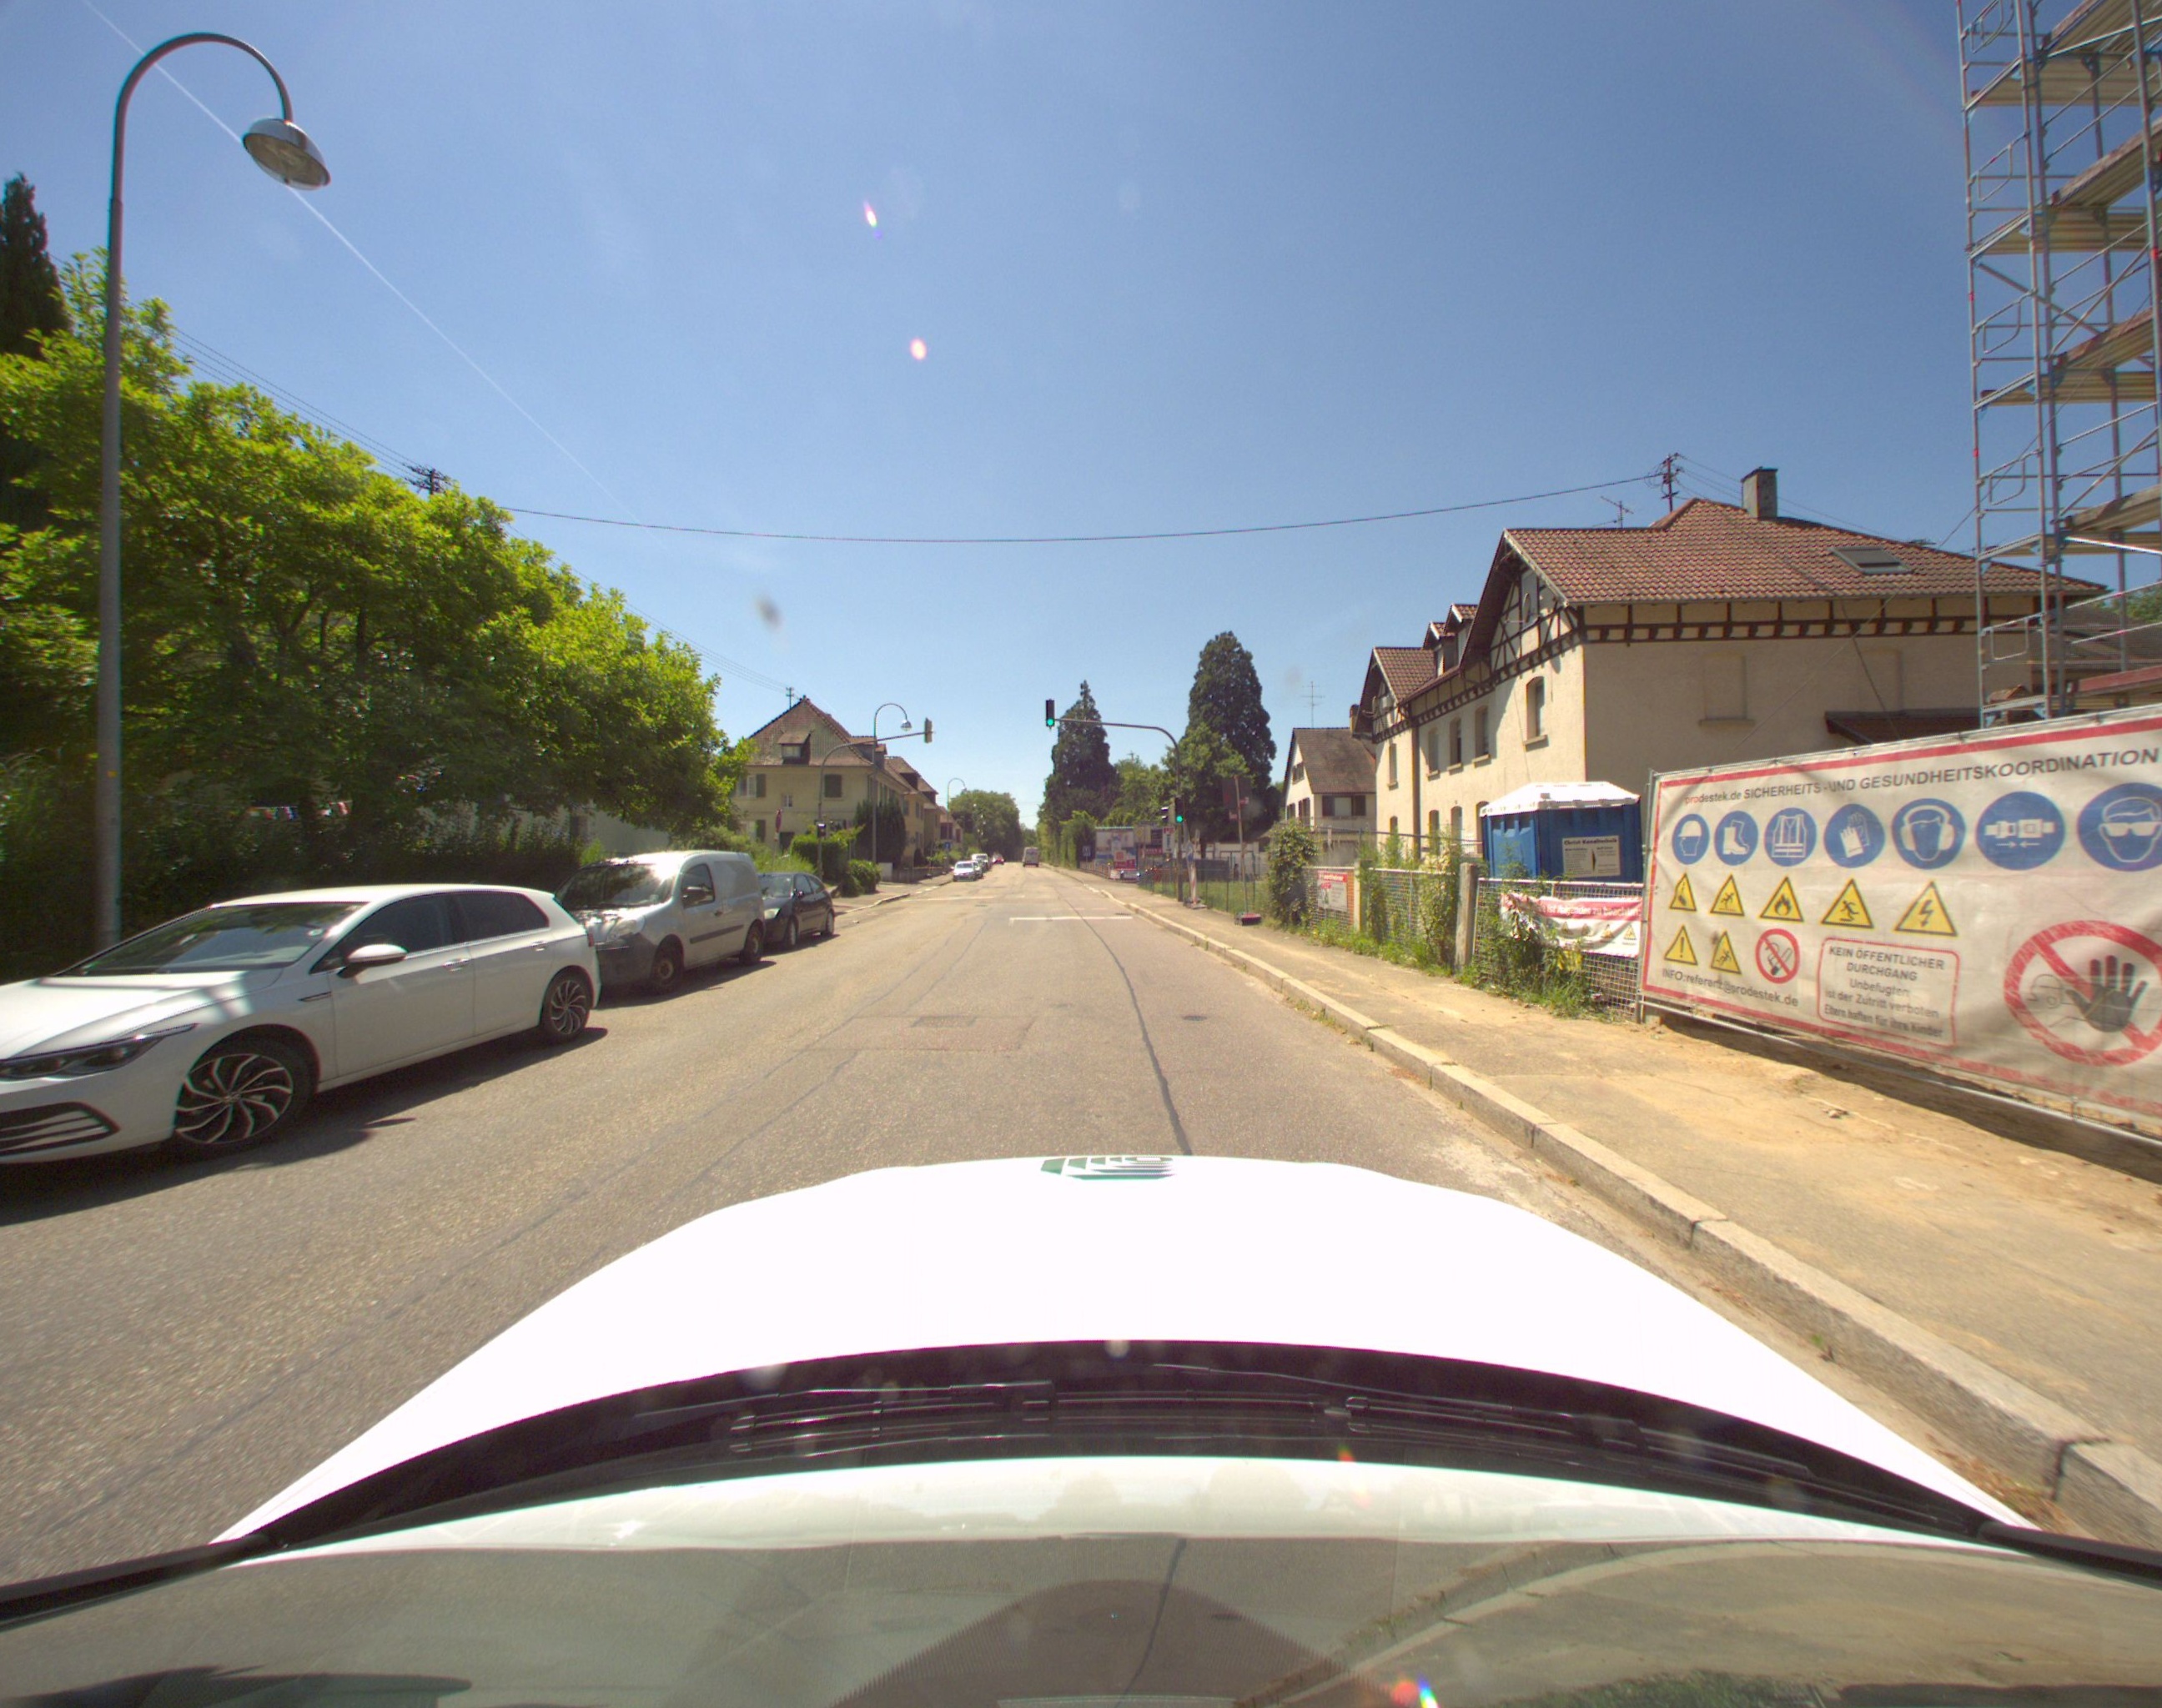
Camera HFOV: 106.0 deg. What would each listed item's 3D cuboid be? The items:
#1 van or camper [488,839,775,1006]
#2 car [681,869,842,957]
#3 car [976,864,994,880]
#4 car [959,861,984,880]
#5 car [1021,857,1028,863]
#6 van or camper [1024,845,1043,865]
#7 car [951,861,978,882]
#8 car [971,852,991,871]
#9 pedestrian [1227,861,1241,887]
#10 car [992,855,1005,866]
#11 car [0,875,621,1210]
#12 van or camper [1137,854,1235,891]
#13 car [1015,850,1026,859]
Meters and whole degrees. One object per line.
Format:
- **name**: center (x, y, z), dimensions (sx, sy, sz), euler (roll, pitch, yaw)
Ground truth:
- **van or camper**: center (-5.788, 0.784, 11.121), dimensions (1.676, 1.804, 3.984), euler (-2, -1, -1)
- **car**: center (-6.027, 1.040, 15.883), dimensions (1.677, 1.412, 3.923), euler (-2, -1, -2)
- **car**: center (-9.821, 1.807, 83.536), dimensions (1.684, 1.525, 4.054), euler (0, 0, -6)
- **car**: center (-8.733, 1.273, 65.044), dimensions (1.792, 1.402, 4.209), euler (-2, 0, -6)
- **car**: center (-16.201, 1.709, 233.337), dimensions (1.991, 1.662, 3.992), euler (0, -1, -6)
- **van or camper**: center (-6.305, 0.177, 108.303), dimensions (2.259, 2.528, 4.750), euler (-1, 0, -5)
- **car**: center (-8.539, 1.242, 60.034), dimensions (1.757, 1.447, 3.916), euler (-2, 0, -6)
- **car**: center (-11.025, 0.788, 90.019), dimensions (1.875, 1.963, 4.617), euler (-2, 0, -5)
- **pedestrian**: center (9.205, 1.198, 49.068), dimensions (0.694, 1.600, 0.572), euler (-1, -1, -5)
- **car**: center (-12.406, 0.938, 122.515), dimensions (1.811, 1.566, 3.690), euler (-1, 0, -5)
- **car**: center (-5.391, 0.930, 5.825), dimensions (1.675, 1.441, 4.248), euler (-2, -1, 1)
- **van or camper**: center (5.839, 1.027, 45.847), dimensions (5.237, 2.014, 1.908), euler (1, -1, -2)
- **car**: center (-11.597, 0.054, 155.558), dimensions (1.991, 1.662, 3.992), euler (0, -1, -6)
